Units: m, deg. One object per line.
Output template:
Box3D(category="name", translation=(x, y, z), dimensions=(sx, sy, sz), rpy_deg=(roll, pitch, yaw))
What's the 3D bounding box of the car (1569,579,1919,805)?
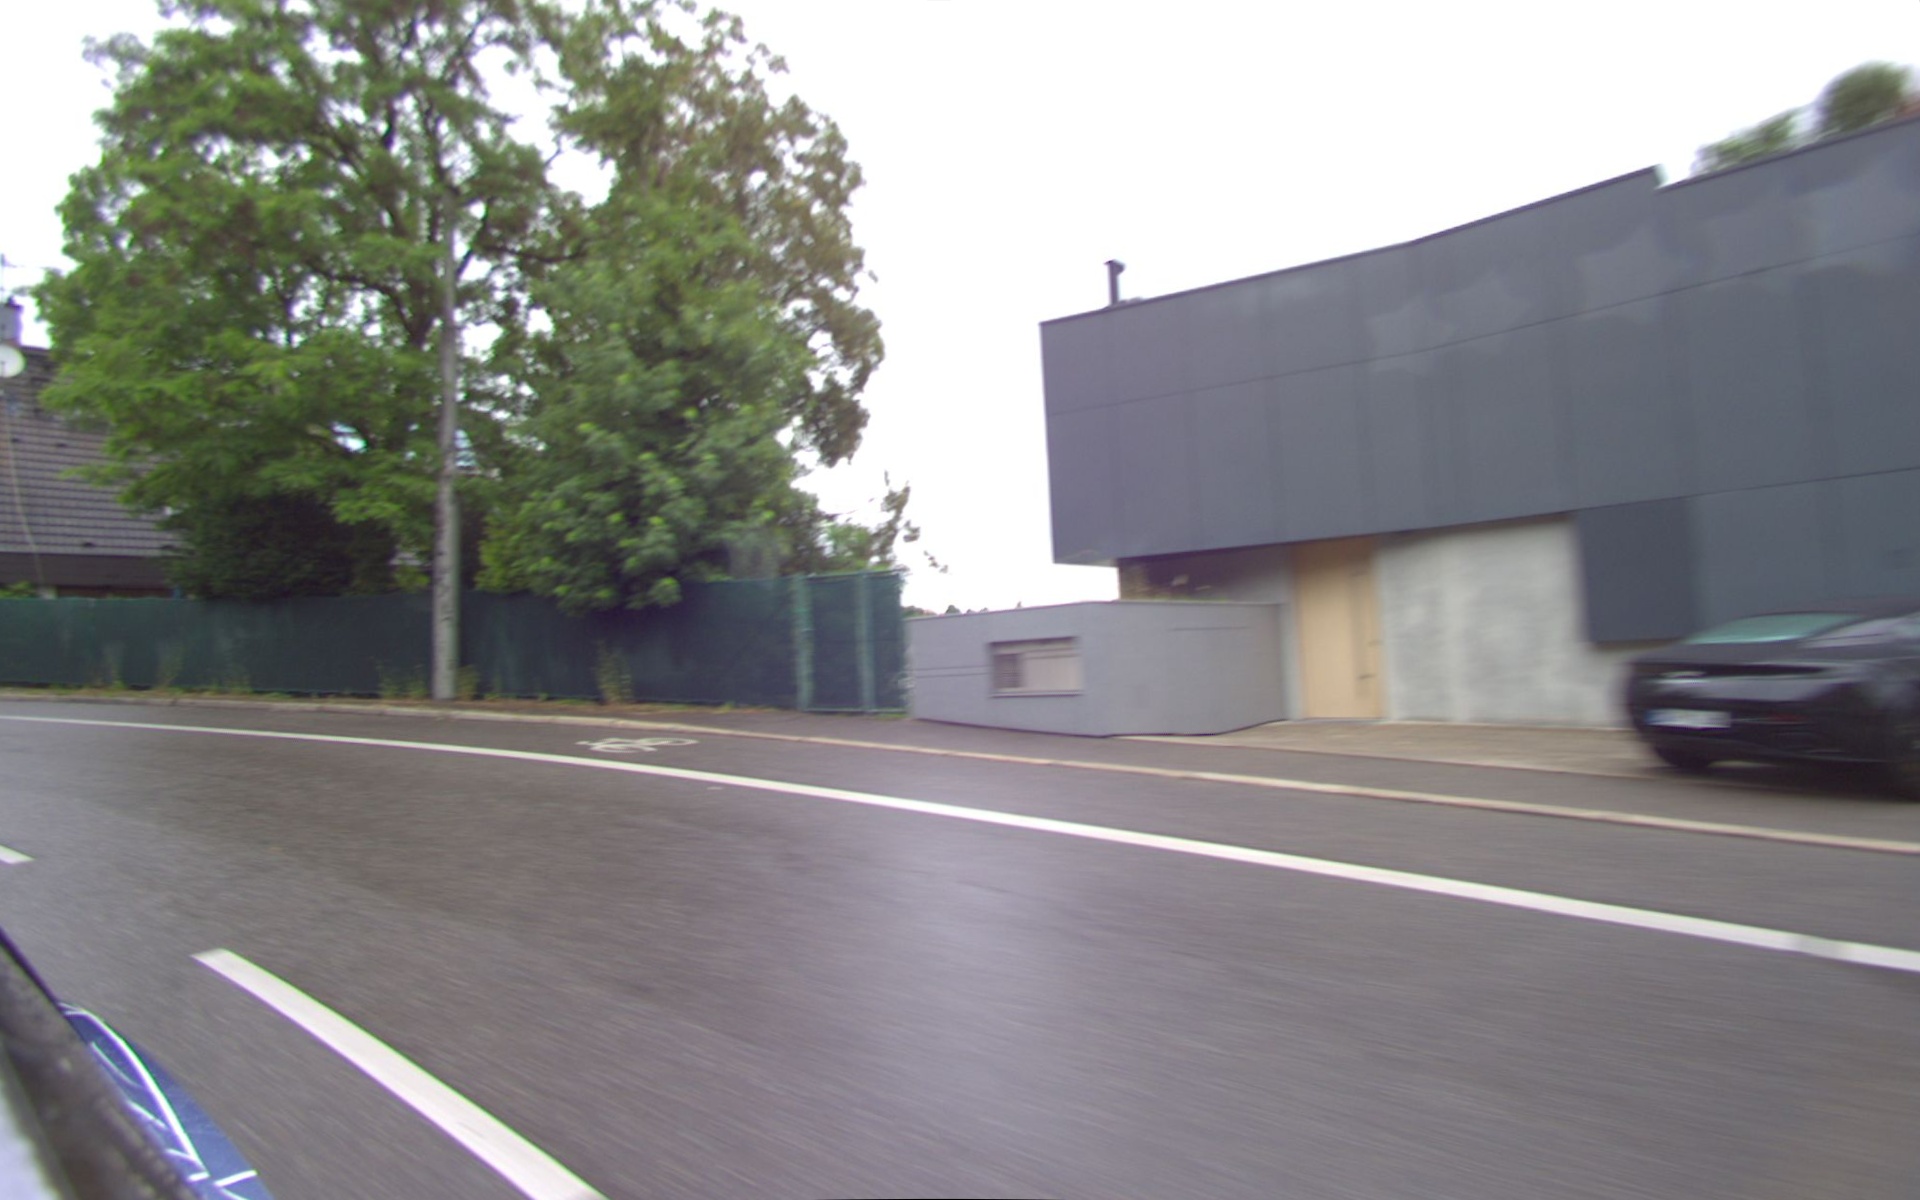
Box3D(category="car", translation=(6.793, 0.555, 7.126), dimensions=(3.936, 1.311, 1.901), rpy_deg=(0, -2, -9))
